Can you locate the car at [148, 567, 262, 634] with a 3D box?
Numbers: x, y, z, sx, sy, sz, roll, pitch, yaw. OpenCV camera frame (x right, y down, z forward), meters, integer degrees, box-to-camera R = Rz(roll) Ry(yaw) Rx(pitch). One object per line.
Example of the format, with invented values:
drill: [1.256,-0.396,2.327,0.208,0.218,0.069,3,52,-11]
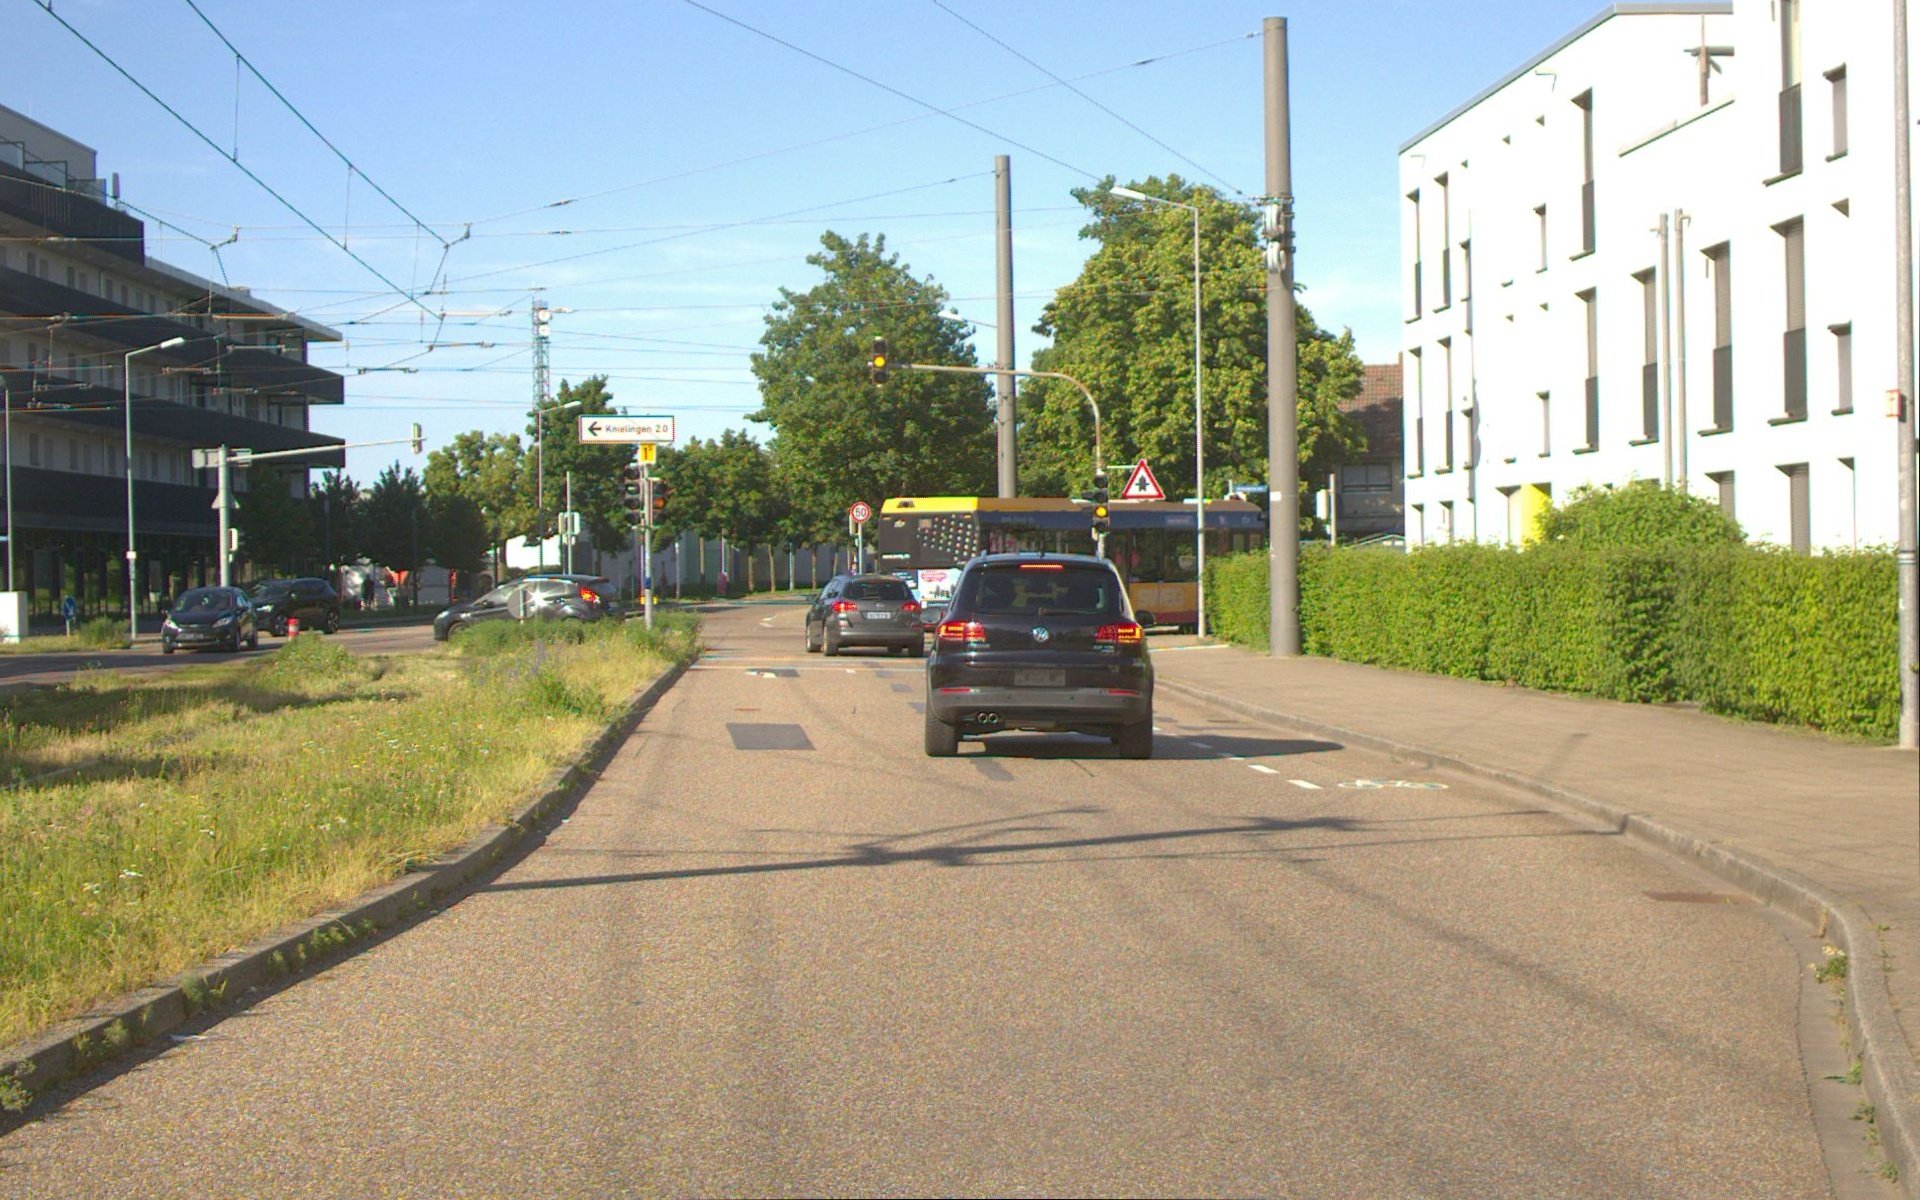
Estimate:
car: [-17.102,-0.007,78.034,1.788,1.414,4.000,-2,1,-2]

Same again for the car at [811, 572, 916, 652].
car: [-1.785,0.190,62.649,1.750,1.382,4.001,1,1,-4]

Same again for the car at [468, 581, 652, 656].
car: [-8.280,0.386,71.069,3.737,1.426,1.705,-2,1,43]

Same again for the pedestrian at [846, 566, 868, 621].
pedestrian: [-3.088,-0.188,102.758,0.603,1.634,0.529,1,0,2]

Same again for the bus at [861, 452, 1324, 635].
bus: [3.276,-1.165,75.761,2.844,3.658,14.654,1,1,34]

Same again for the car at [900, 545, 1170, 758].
car: [0.551,0.381,28.823,1.905,1.637,4.001,1,1,-4]
